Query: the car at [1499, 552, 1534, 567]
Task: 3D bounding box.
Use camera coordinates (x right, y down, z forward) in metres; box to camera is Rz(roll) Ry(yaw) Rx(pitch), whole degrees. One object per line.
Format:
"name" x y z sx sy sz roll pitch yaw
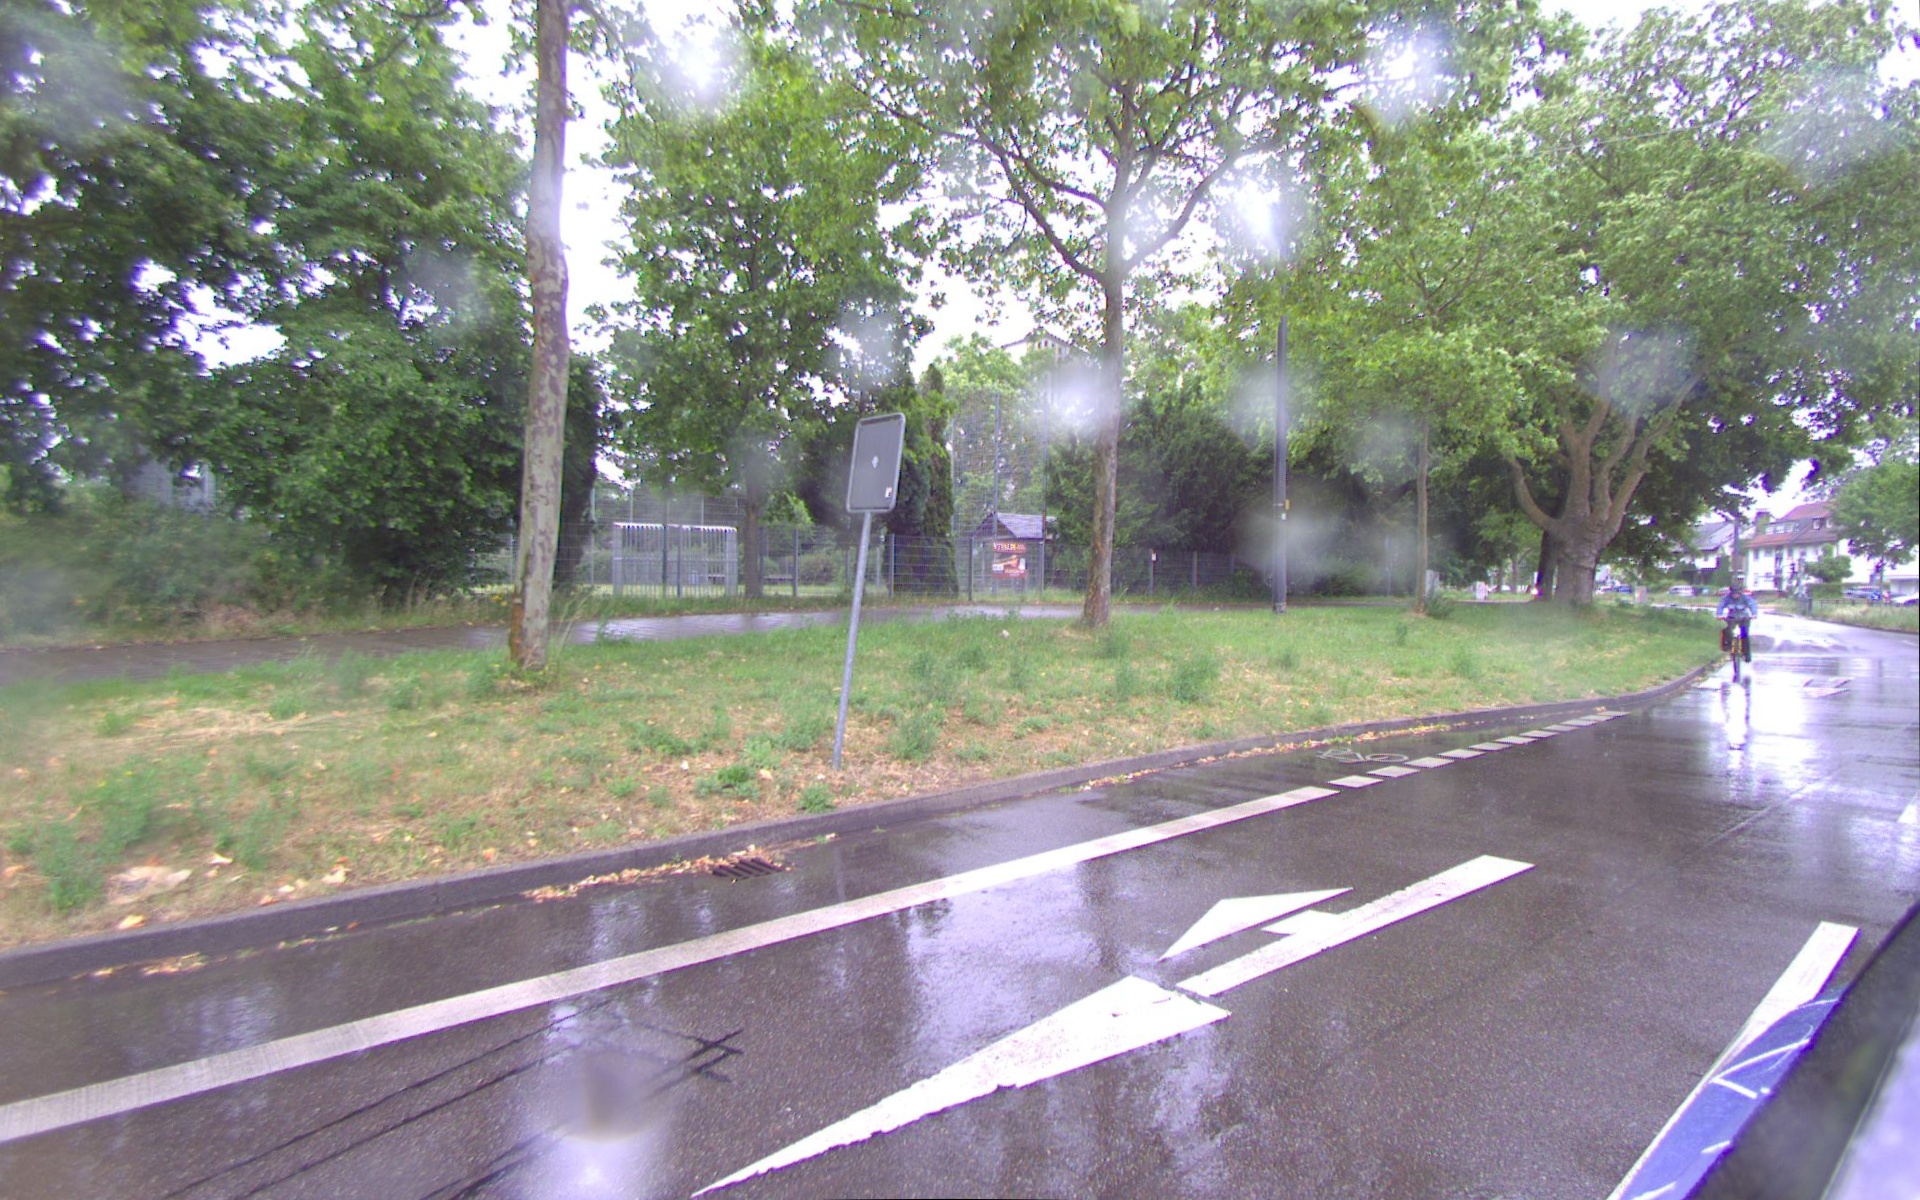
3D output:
"car" 73.711 -5.317 134.123 3.958 1.850 1.983 0 0 25

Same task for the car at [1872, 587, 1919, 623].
"car" 39.303 0.187 40.536 4.025 1.438 1.652 0 0 39

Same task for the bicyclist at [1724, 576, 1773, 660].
"bicyclist" 14.726 0.313 18.894 0.690 1.525 0.832 0 1 40

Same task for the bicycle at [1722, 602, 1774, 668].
"bicycle" 14.729 0.628 18.900 0.690 1.131 1.858 0 1 40
